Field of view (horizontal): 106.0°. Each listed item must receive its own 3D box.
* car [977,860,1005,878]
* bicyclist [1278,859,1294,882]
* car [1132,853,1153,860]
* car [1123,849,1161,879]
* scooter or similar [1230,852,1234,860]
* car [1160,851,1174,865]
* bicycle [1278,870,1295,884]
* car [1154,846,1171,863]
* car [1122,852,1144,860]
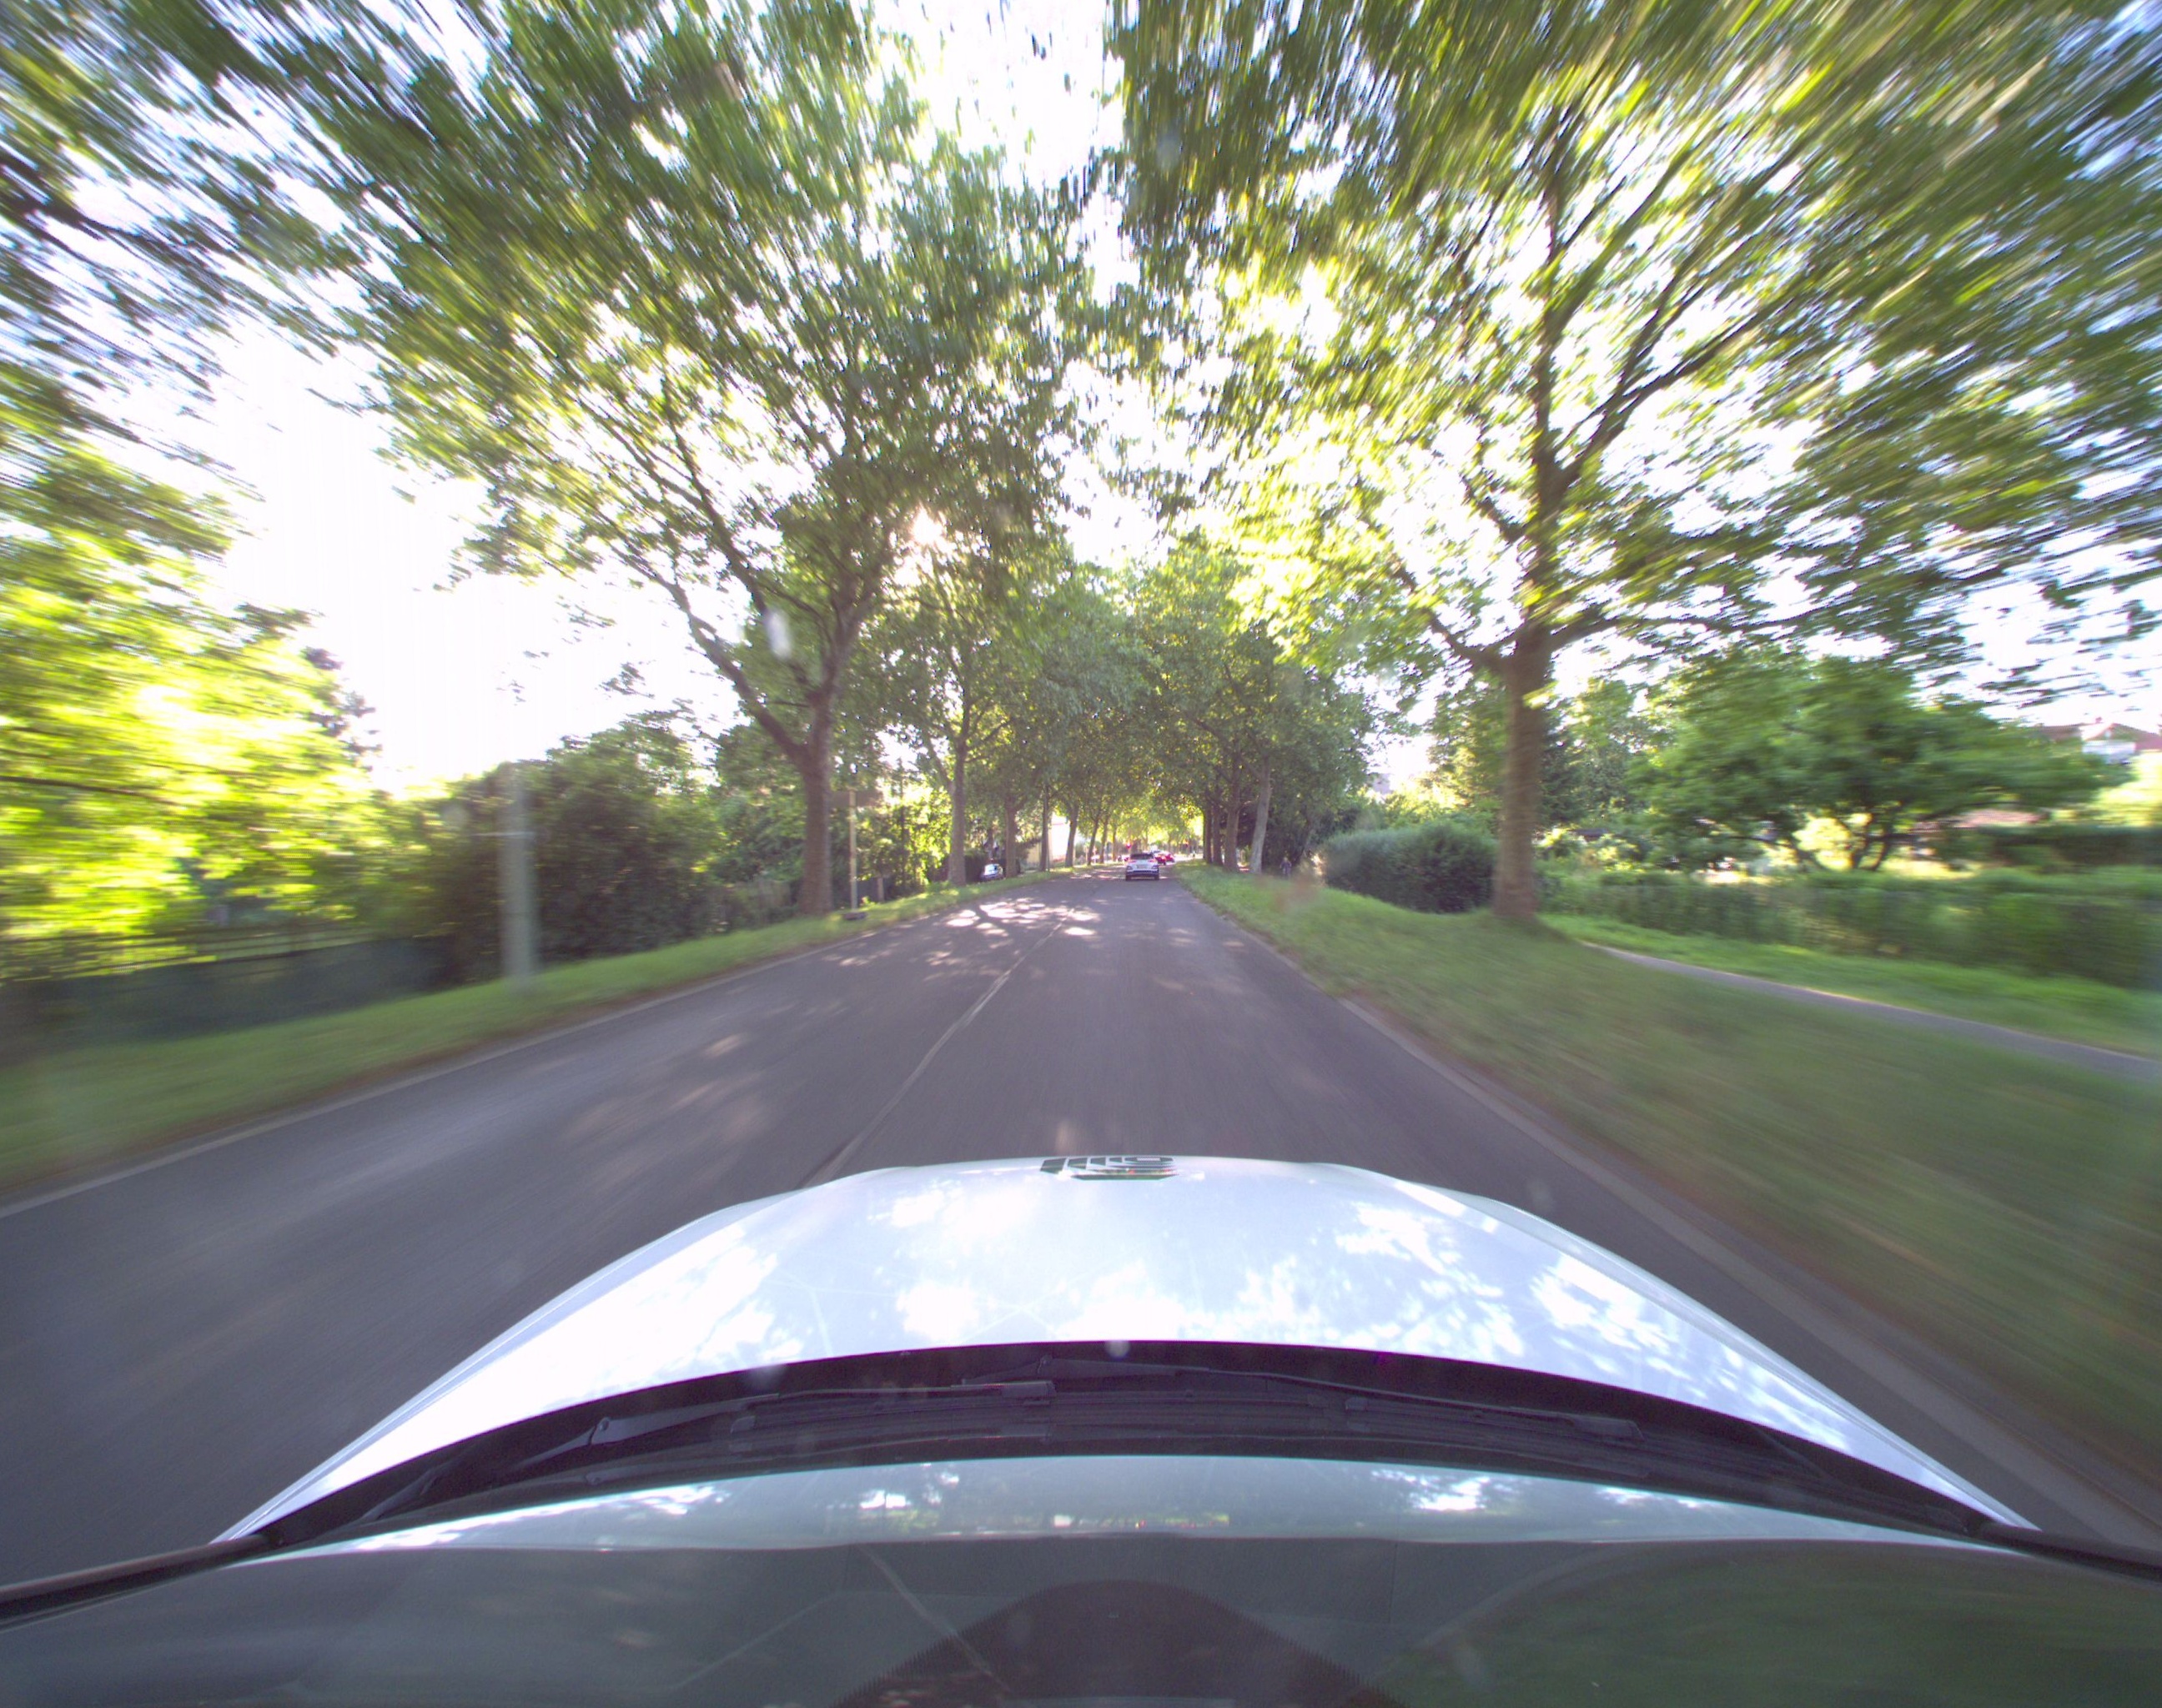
[{"bbox_3d":[-7.557,1.216,68.681,1.745,1.304,4.003,-3,1,2],"label":"car"},{"bbox_3d":[12.157,0.978,48.260,0.731,1.366,0.770,-1,-1,0],"label":"bicyclist"},{"bbox_3d":[12.548,0.493,164.738,3.960,1.478,2.007,-1,-1,12],"label":"car"},{"bbox_3d":[3.409,0.536,44.957,1.984,1.574,4.005,-1,0,5],"label":"car"},{"bbox_3d":[23.670,0.304,127.277,0.546,1.258,2.319,-1,-1,9],"label":"scooter or similar"},{"bbox_3d":[12.429,0.604,118.319,1.984,2.014,4.006,-1,-1,5],"label":"car"},{"bbox_3d":[12.163,1.360,48.292,0.550,0.817,1.888,-1,-1,0],"label":"bicycle"},{"bbox_3d":[9.916,0.095,99.161,1.984,2.014,4.006,-1,-1,5],"label":"car"},{"bbox_3d":[9.832,0.439,154.745,3.963,1.478,2.005,-1,-1,9],"label":"car"}]
